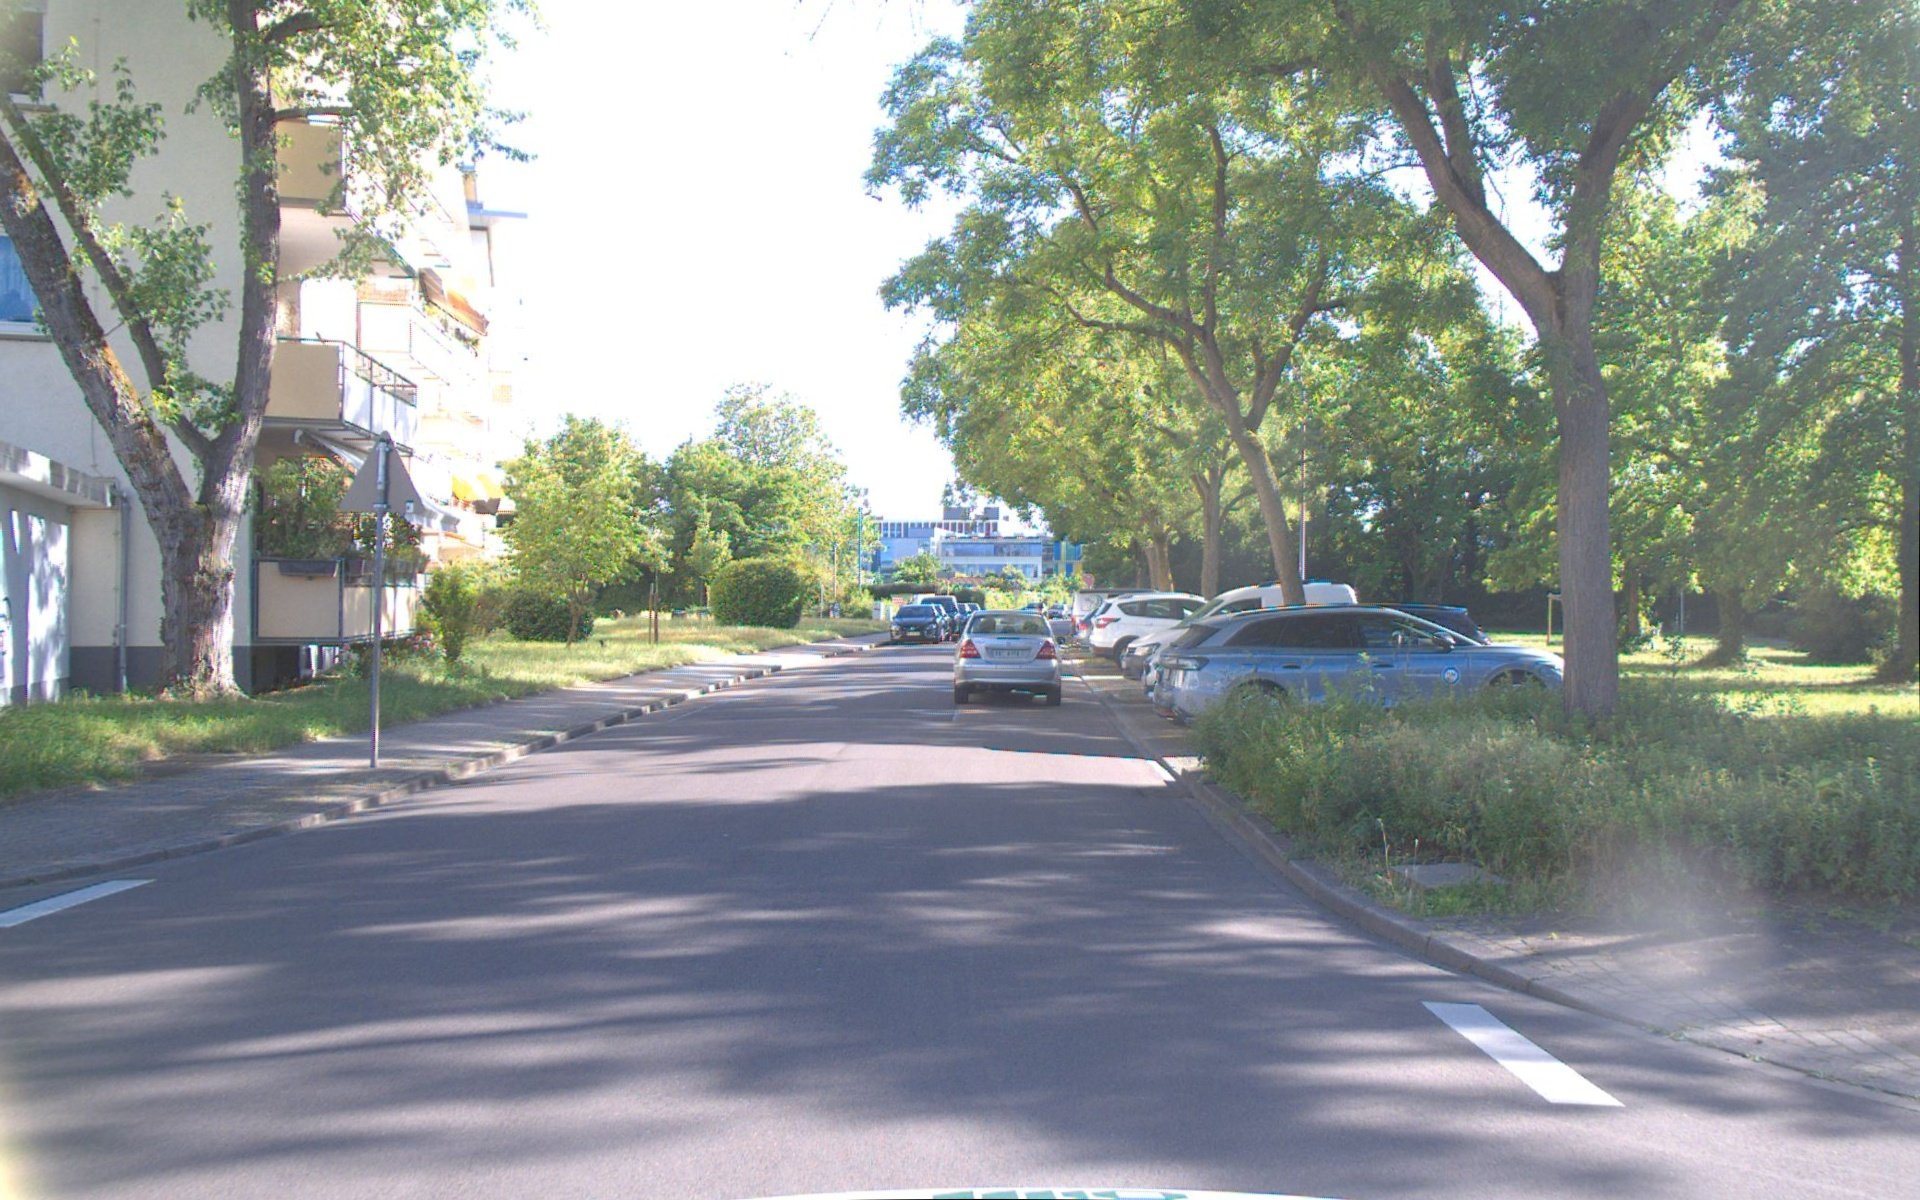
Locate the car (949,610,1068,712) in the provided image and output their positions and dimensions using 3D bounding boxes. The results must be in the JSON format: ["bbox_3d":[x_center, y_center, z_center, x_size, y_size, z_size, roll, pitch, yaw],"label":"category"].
[{"bbox_3d":[0.834,0.948,26.159,1.696,1.459,3.439,1,-2,4],"label":"car"}]

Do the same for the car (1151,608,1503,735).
[{"bbox_3d":[4.783,0.918,22.004,4.334,1.599,1.738,0,0,2],"label":"car"}]

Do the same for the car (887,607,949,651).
[{"bbox_3d":[-1.558,1.079,62.175,1.873,1.516,3.839,-2,-1,5],"label":"car"}]

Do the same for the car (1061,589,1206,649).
[{"bbox_3d":[6.233,0.669,59.673,5.108,2.095,2.001,0,0,4],"label":"car"}]

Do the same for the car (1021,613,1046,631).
[{"bbox_3d":[6.460,1.894,145.519,1.853,1.529,3.659,0,0,8],"label":"car"}]

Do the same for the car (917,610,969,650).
[{"bbox_3d":[-0.729,1.346,74.220,1.713,1.718,4.267,-1,-1,8],"label":"car"}]

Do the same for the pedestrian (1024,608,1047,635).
[{"bbox_3d":[5.936,1.669,130.312,1.540,2.125,1.725,0,-1,11],"label":"pedestrian"}]

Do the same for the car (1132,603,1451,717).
[{"bbox_3d":[4.870,0.862,24.775,4.354,1.544,2.000,-1,0,-1],"label":"car"}]

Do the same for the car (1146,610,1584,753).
[{"bbox_3d":[4.653,0.916,19.526,4.684,1.576,2.011,0,0,-1],"label":"car"}]

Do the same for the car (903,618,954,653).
[{"bbox_3d":[-1.255,1.439,68.157,1.713,1.346,3.744,-2,-1,4],"label":"car"}]

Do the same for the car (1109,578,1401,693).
[{"bbox_3d":[5.215,0.609,29.612,4.789,1.958,1.998,0,0,-5],"label":"car"}]

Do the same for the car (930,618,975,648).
[{"bbox_3d":[-0.347,1.588,80.783,1.713,1.353,3.453,-2,-1,7],"label":"car"}]

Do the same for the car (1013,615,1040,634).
[{"bbox_3d":[5.526,2.048,137.270,1.853,1.529,3.659,0,0,8],"label":"car"}]

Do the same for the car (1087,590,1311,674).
[{"bbox_3d":[5.274,0.706,37.060,4.782,1.754,2.001,-1,0,2],"label":"car"}]

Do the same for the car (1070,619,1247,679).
[{"bbox_3d":[5.629,1.382,47.283,4.785,1.656,1.999,1,-1,-1],"label":"car"}]

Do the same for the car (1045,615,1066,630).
[{"bbox_3d":[9.428,2.206,163.054,1.853,1.529,3.659,0,0,8],"label":"car"}]
